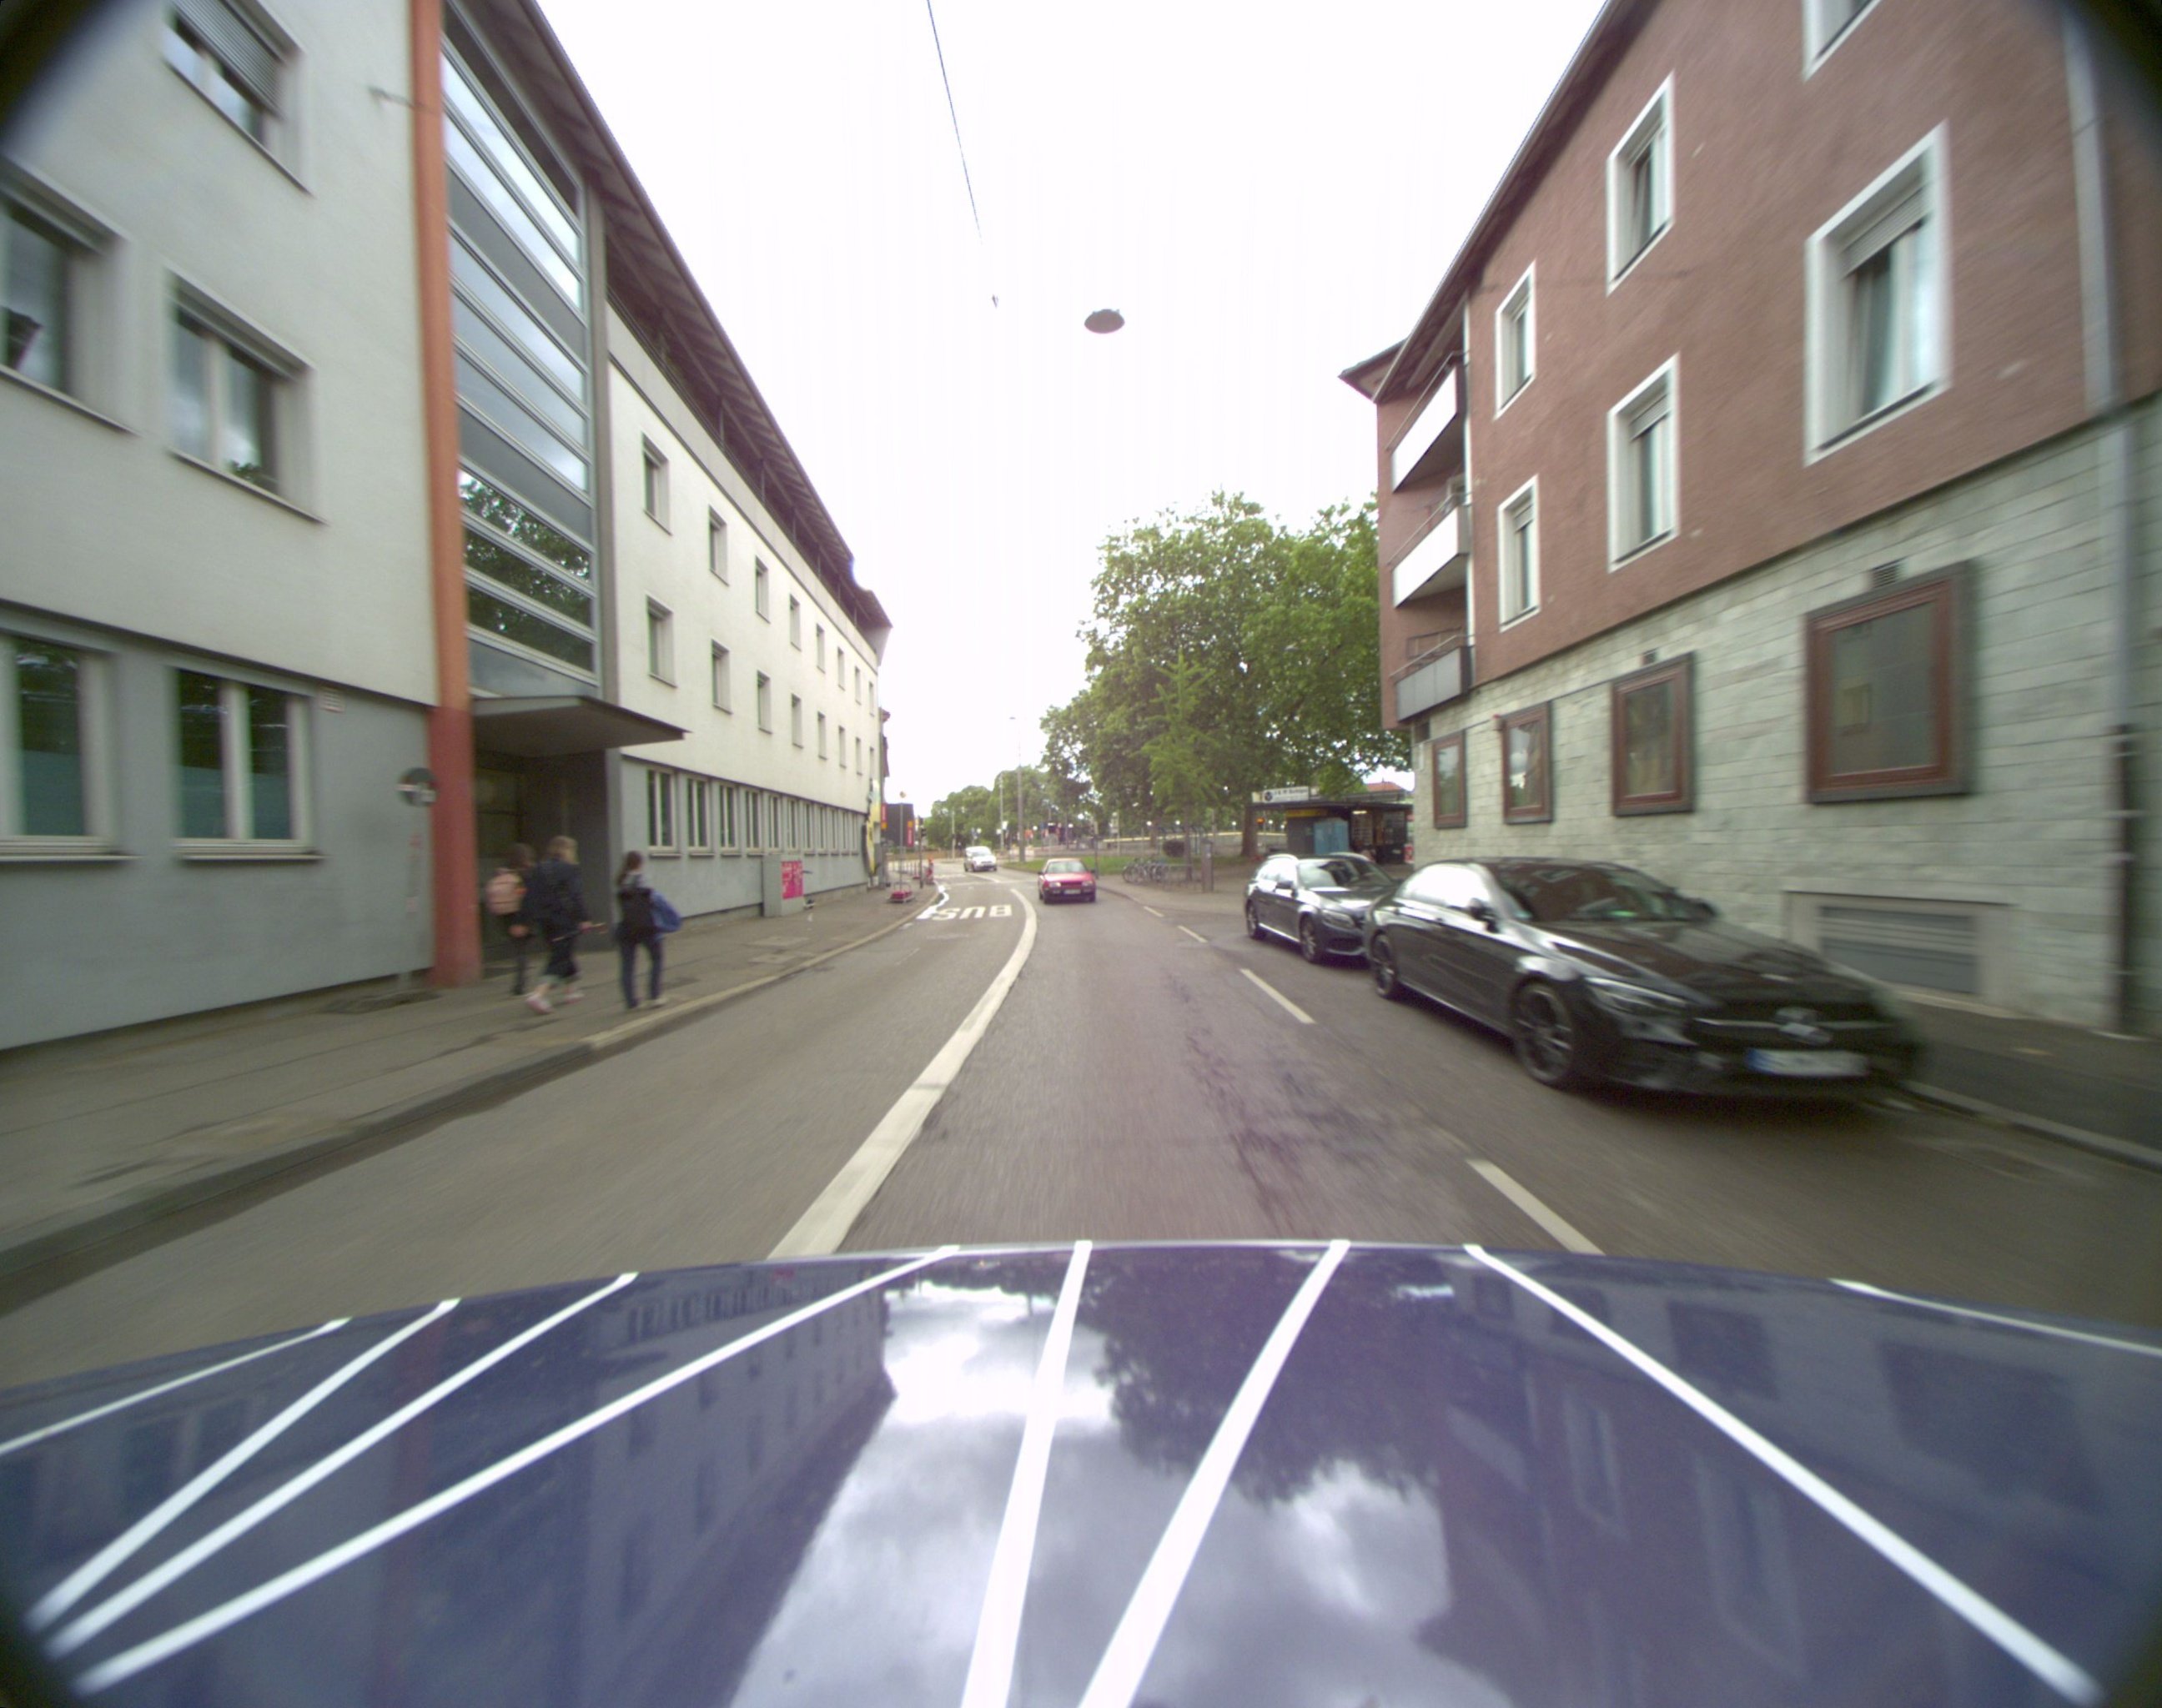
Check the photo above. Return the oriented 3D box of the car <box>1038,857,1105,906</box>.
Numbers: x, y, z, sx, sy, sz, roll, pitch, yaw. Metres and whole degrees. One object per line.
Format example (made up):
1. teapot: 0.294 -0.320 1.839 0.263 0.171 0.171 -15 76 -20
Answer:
1. car: -0.403 0.868 25.481 1.851 1.414 4.171 -3 0 -5

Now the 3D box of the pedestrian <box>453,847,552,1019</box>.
1. pedestrian: -6.110 0.807 8.051 0.543 1.746 0.609 0 0 10

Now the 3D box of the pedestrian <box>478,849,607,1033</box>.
1. pedestrian: -5.410 0.835 7.686 0.689 1.746 0.878 1 -1 -4

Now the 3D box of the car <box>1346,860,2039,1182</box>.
1. car: 3.882 0.857 6.227 1.833 1.446 4.921 -2 1 2

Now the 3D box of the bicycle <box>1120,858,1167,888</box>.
1. bicycle: 2.630 0.790 31.978 1.874 1.107 0.577 -4 2 -1

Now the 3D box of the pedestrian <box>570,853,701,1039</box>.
1. pedestrian: -4.535 0.898 7.808 0.805 1.783 0.942 1 -1 -4

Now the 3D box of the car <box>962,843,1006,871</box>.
1. car: -7.327 0.182 57.021 2.076 1.776 4.447 -5 4 -23

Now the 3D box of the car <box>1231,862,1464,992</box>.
1. car: 3.755 0.926 11.696 1.834 1.446 4.583 -2 1 -2

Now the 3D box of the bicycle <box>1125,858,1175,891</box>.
1. bicycle: 2.785 0.809 30.677 1.809 1.169 0.723 -4 2 -22

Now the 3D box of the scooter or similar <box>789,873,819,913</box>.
1. scooter or similar: -8.017 1.116 22.023 0.429 1.091 1.438 0 0 -4

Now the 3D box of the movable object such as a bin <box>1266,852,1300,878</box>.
1. movable object such as a bin: 8.303 0.451 31.298 0.674 0.959 1.076 -7 2 -41
